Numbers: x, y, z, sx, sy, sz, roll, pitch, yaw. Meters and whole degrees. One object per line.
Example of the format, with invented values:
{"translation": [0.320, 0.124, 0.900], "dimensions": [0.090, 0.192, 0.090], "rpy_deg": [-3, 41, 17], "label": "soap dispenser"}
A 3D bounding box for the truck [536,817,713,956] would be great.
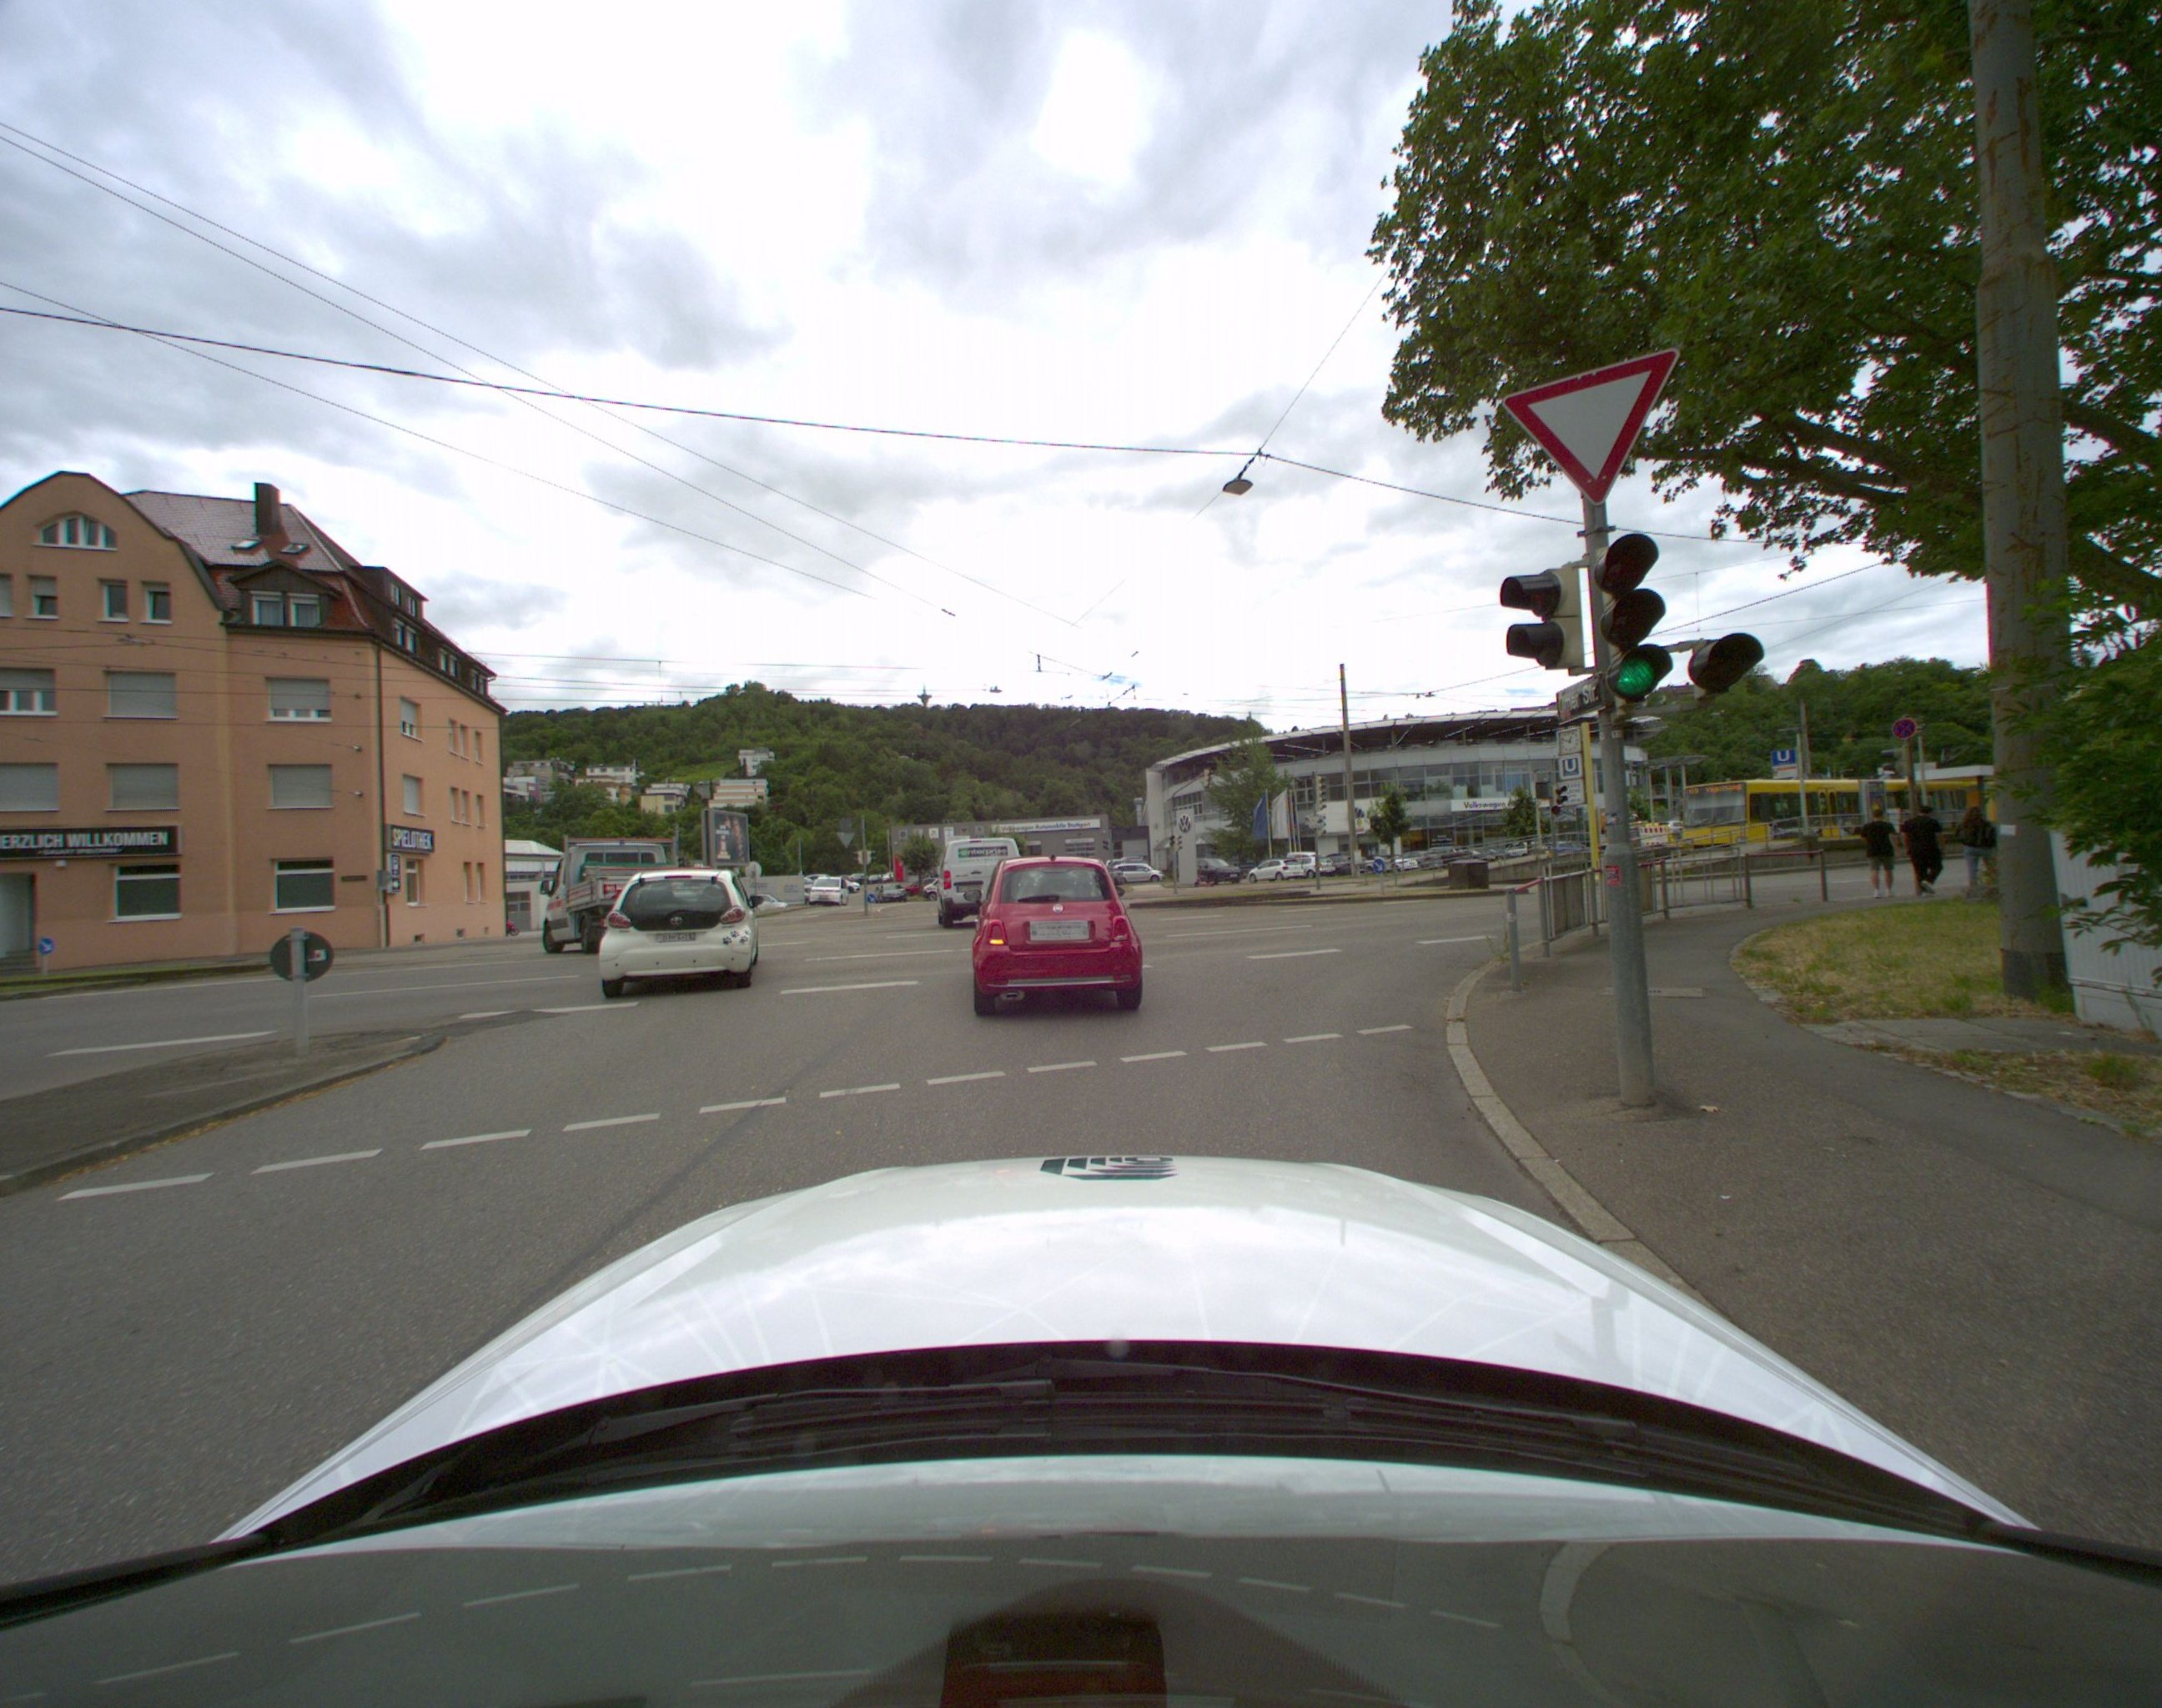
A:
{"translation": [-9.783, 0.737, 17.157], "dimensions": [2.332, 2.422, 5.588], "rpy_deg": [-1, -3, -39], "label": "truck"}

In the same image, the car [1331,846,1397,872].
{"translation": [18.961, 0.367, 54.697], "dimensions": [1.932, 1.554, 3.963], "rpy_deg": [2, -3, -28], "label": "car"}

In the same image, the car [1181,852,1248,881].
{"translation": [8.166, 0.797, 50.073], "dimensions": [2.005, 1.640, 3.963], "rpy_deg": [-1, -1, -29], "label": "car"}

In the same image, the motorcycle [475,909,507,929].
{"translation": [-30.943, 3.381, 42.690], "dimensions": [1.689, 0.984, 0.532], "rpy_deg": [0, -3, 23], "label": "motorcycle"}

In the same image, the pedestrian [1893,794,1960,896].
{"translation": [15.848, -0.164, 15.263], "dimensions": [0.672, 1.867, 0.599], "rpy_deg": [-1, -2, -23], "label": "pedestrian"}

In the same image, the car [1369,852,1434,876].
{"translation": [22.568, 0.752, 57.510], "dimensions": [1.932, 1.554, 3.963], "rpy_deg": [2, -3, -28], "label": "car"}

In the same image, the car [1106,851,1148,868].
{"translation": [5.091, 0.618, 90.615], "dimensions": [4.484, 1.729, 1.998], "rpy_deg": [1, -3, -3], "label": "car"}

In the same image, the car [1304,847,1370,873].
{"translation": [16.787, 0.438, 53.537], "dimensions": [1.932, 1.554, 3.963], "rpy_deg": [2, -3, -28], "label": "car"}

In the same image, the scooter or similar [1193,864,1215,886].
{"translation": [7.117, 1.218, 47.119], "dimensions": [1.199, 1.288, 0.574], "rpy_deg": [1, -3, -7], "label": "scooter or similar"}

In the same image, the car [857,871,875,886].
{"translation": [-30.431, 3.496, 115.380], "dimensions": [1.994, 1.997, 4.494], "rpy_deg": [1, -2, -10], "label": "car"}

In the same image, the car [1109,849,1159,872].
{"translation": [4.826, 0.644, 74.610], "dimensions": [4.484, 1.997, 1.998], "rpy_deg": [1, -3, -2], "label": "car"}

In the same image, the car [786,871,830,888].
{"translation": [-31.977, 2.991, 95.574], "dimensions": [4.493, 1.997, 1.994], "rpy_deg": [1, -3, -8], "label": "car"}

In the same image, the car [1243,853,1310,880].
{"translation": [12.374, 0.822, 51.799], "dimensions": [2.005, 1.640, 3.963], "rpy_deg": [2, -3, -28], "label": "car"}

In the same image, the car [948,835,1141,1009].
{"translation": [-0.437, 0.646, 9.253], "dimensions": [1.694, 1.525, 3.994], "rpy_deg": [1, -1, -4], "label": "car"}

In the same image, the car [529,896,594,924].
{"translation": [-37.553, 4.019, 59.030], "dimensions": [1.990, 1.839, 4.503], "rpy_deg": [1, -2, -4], "label": "car"}

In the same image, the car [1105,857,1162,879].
{"translation": [4.231, 1.164, 66.014], "dimensions": [4.484, 1.729, 1.998], "rpy_deg": [1, -3, -3], "label": "car"}

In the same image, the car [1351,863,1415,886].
{"translation": [20.682, 1.437, 55.858], "dimensions": [1.733, 1.554, 3.963], "rpy_deg": [2, -3, -28], "label": "car"}

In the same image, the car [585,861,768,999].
{"translation": [-5.119, 0.843, 10.728], "dimensions": [1.598, 1.420, 3.353], "rpy_deg": [-2, 0, -18], "label": "car"}

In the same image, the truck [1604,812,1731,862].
{"translation": [40.407, -1.170, 56.038], "dimensions": [9.017, 3.078, 2.682], "rpy_deg": [-2, -1, -23], "label": "truck"}

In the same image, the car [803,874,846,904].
{"translation": [-16.473, 2.241, 52.585], "dimensions": [2.077, 1.853, 4.887], "rpy_deg": [1, -2, -11], "label": "car"}

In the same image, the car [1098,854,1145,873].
{"translation": [3.978, 0.946, 81.045], "dimensions": [4.484, 1.729, 1.998], "rpy_deg": [1, -3, -3], "label": "car"}

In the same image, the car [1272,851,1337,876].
{"translation": [14.423, 0.636, 52.663], "dimensions": [1.819, 1.477, 3.963], "rpy_deg": [2, -3, -28], "label": "car"}

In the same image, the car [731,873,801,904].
{"translation": [-23.075, 2.535, 59.642], "dimensions": [4.522, 2.243, 1.981], "rpy_deg": [2, -3, -29], "label": "car"}

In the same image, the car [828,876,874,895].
{"translation": [-23.966, 3.292, 84.987], "dimensions": [4.503, 1.997, 1.990], "rpy_deg": [1, -3, -15], "label": "car"}

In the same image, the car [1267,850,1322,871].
{"translation": [17.295, 0.570, 66.031], "dimensions": [1.936, 1.554, 3.955], "rpy_deg": [2, -3, -37], "label": "car"}

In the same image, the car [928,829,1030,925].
{"translation": [-2.621, 0.630, 19.952], "dimensions": [2.001, 2.041, 4.808], "rpy_deg": [0, -3, -13], "label": "car"}

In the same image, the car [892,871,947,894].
{"translation": [-14.484, 2.572, 73.085], "dimensions": [4.484, 1.997, 1.998], "rpy_deg": [1, -3, -2], "label": "car"}

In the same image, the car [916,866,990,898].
{"translation": [-9.395, 2.066, 60.172], "dimensions": [4.981, 2.014, 2.001], "rpy_deg": [-4, -3, 3], "label": "car"}

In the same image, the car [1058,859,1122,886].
{"translation": [0.604, 1.275, 54.971], "dimensions": [3.988, 1.706, 1.992], "rpy_deg": [1, -3, -11], "label": "car"}

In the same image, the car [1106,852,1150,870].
{"translation": [4.918, 0.769, 85.427], "dimensions": [4.484, 1.729, 1.998], "rpy_deg": [1, -3, -3], "label": "car"}

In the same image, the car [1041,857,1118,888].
{"translation": [-0.067, 1.027, 46.033], "dimensions": [3.960, 1.639, 2.007], "rpy_deg": [0, 2, 12], "label": "car"}
